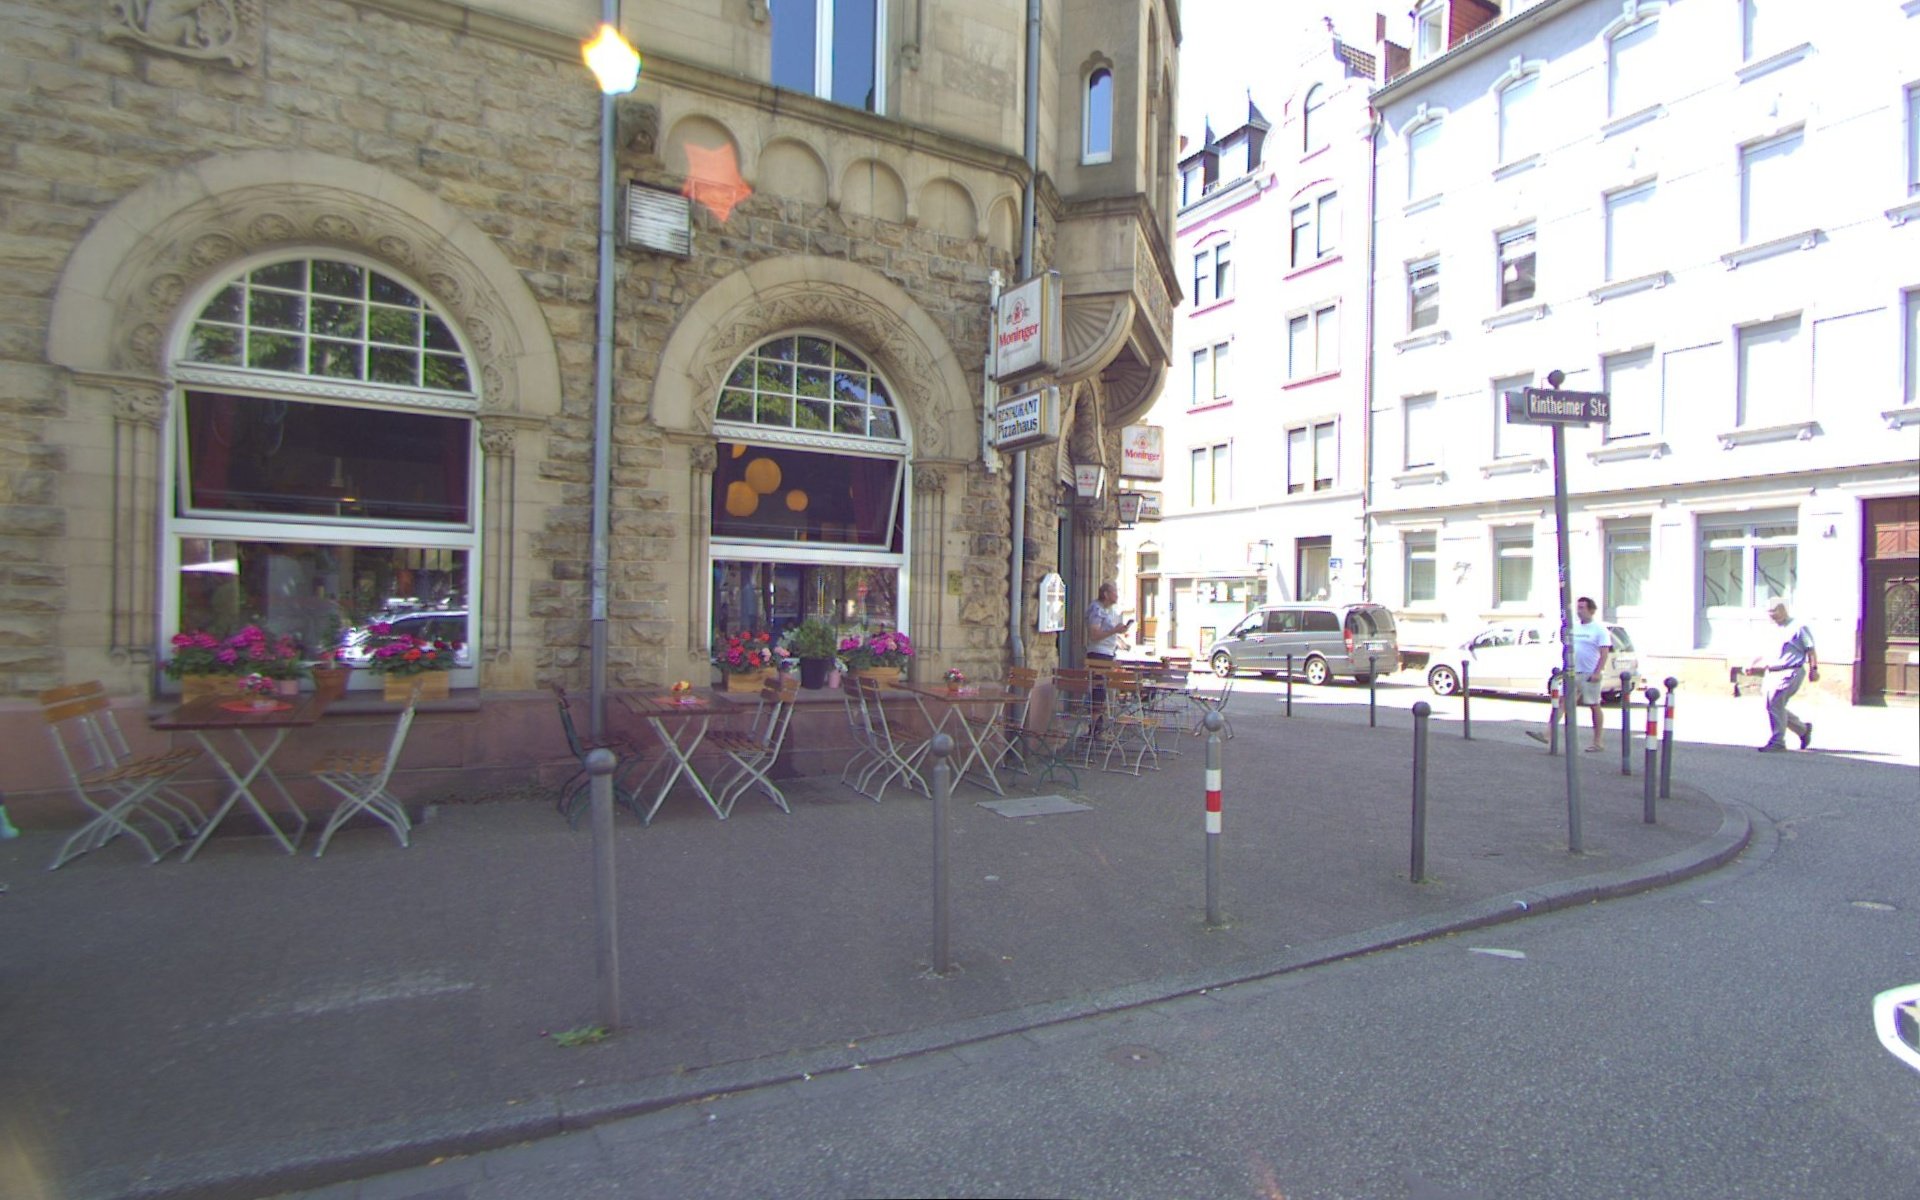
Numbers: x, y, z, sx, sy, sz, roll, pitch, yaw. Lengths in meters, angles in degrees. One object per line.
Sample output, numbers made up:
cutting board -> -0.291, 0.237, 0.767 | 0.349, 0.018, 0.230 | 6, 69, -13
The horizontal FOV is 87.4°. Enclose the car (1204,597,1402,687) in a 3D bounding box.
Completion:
car -> 8.433, 0.981, 25.145 | 1.854, 2.024, 4.687 | 0, -1, -28

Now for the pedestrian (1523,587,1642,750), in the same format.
pedestrian -> 7.612, 0.827, 12.321 | 0.918, 1.914, 0.851 | 1, -1, -10

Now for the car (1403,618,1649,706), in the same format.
car -> 11.272, 1.176, 20.292 | 1.785, 1.582, 4.029 | 1, -2, -29

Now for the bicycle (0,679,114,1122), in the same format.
bicycle -> -3.000, 0.833, 3.096 | 0.363, 1.021, 1.516 | 1, 1, -31

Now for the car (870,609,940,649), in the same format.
car -> -2.581, 1.321, 46.403 | 1.701, 1.753, 3.816 | 0, -1, -29

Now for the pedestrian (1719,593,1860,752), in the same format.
pedestrian -> 9.959, 0.854, 12.091 | 0.942, 1.838, 0.903 | 1, -1, -7

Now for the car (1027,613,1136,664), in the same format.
car -> 4.007, 1.251, 33.663 | 1.701, 1.603, 3.816 | 0, -1, -29

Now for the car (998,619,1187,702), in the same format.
car -> 2.473, 1.135, 19.608 | 1.702, 1.444, 3.816 | 3, -3, -29

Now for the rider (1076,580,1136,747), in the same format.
rider -> 1.563, 0.661, 10.704 | 0.530, 1.719, 0.642 | 0, -1, 16
